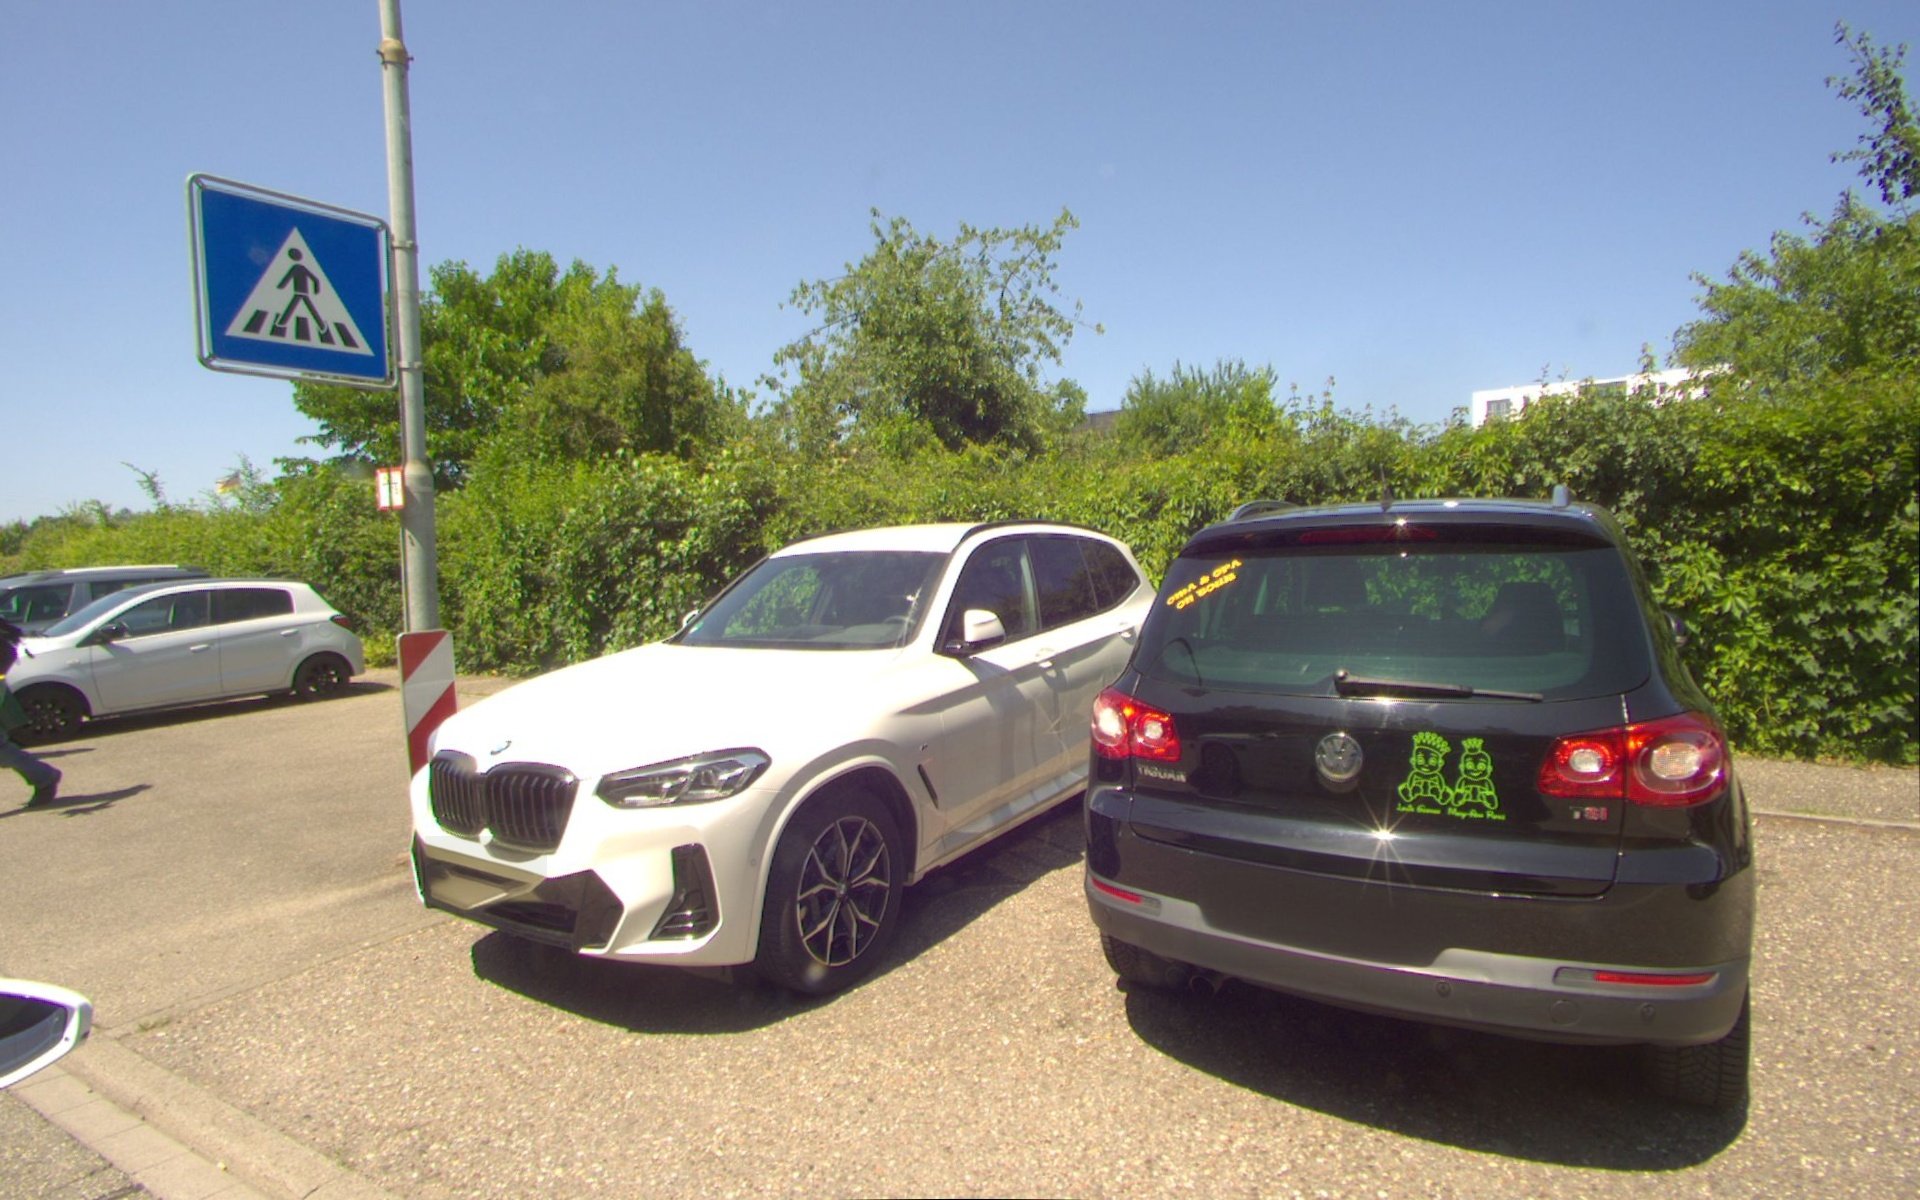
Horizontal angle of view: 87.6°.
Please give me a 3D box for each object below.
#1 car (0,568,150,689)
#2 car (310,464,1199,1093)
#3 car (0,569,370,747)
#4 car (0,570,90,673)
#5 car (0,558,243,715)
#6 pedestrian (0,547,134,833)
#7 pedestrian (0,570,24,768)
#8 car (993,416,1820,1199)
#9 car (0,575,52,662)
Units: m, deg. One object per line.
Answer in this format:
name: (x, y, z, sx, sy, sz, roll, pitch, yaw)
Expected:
car: (-13.728, 0.434, 13.900, 1.515, 1.549, 3.445, 1, 5, 28)
car: (-0.428, 0.393, 5.129, 1.825, 1.753, 4.440, 0, 3, 33)
car: (-8.821, 0.508, 10.946, 1.588, 1.472, 3.673, 2, 6, 36)
car: (-16.208, 0.431, 15.268, 1.835, 1.545, 3.955, 0, 5, 27)
car: (-11.404, 0.428, 12.179, 1.637, 1.664, 3.953, 1, 5, 27)
pedestrian: (-6.533, 0.557, 6.640, 1.003, 1.776, 1.157, -2, 4, -3)
pedestrian: (-8.427, 0.582, 8.341, 0.772, 1.634, 0.888, -6, 6, -42)
car: (1.880, 0.411, 4.022, 1.741, 1.709, 3.962, 1, 3, 32)
car: (-18.319, 0.384, 17.450, 1.566, 1.525, 3.374, 2, 4, 36)
